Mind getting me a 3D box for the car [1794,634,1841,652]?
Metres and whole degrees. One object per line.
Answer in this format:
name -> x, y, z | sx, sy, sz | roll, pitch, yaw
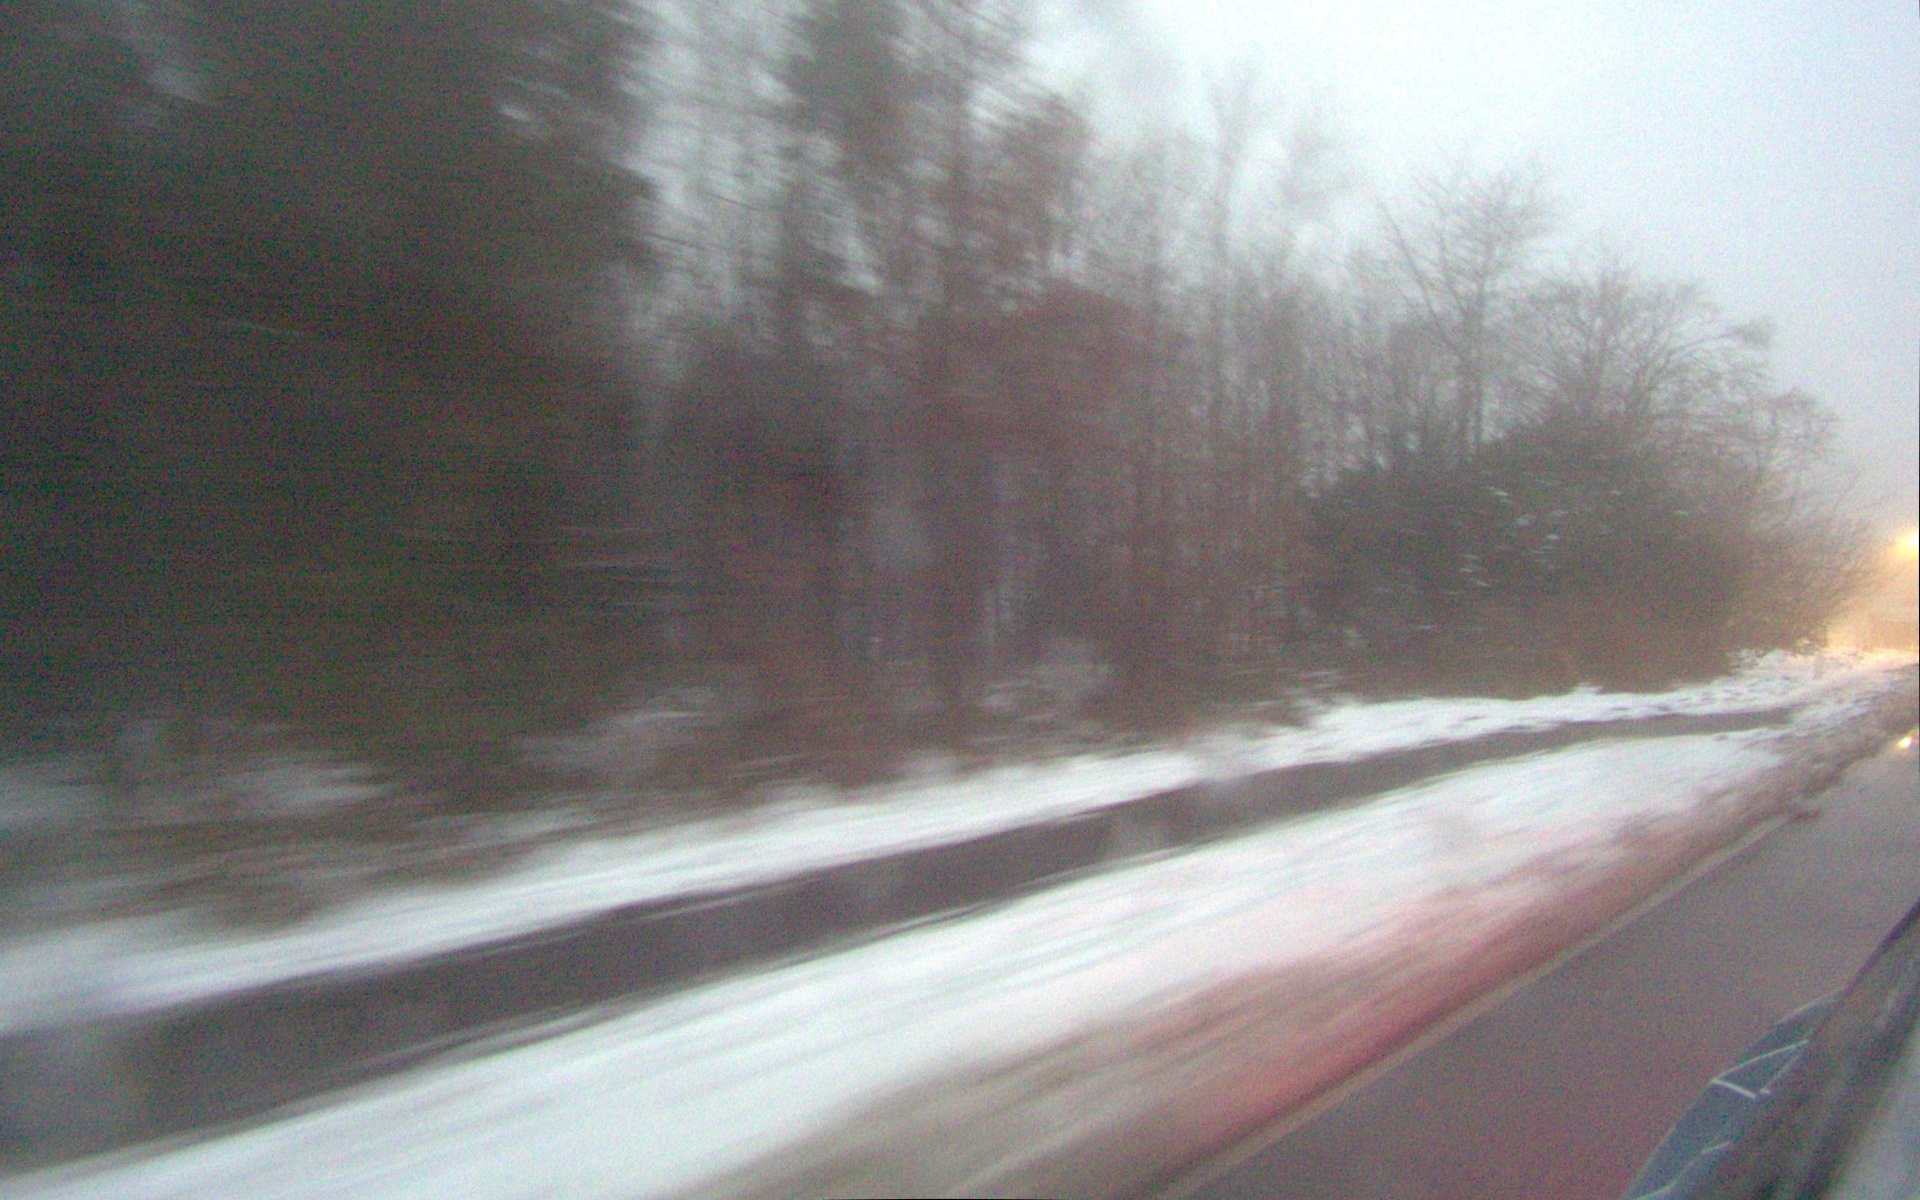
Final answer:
car -> 77.413, 3.901, 91.478 | 1.863, 1.445, 5.342 | 0, -3, 25
